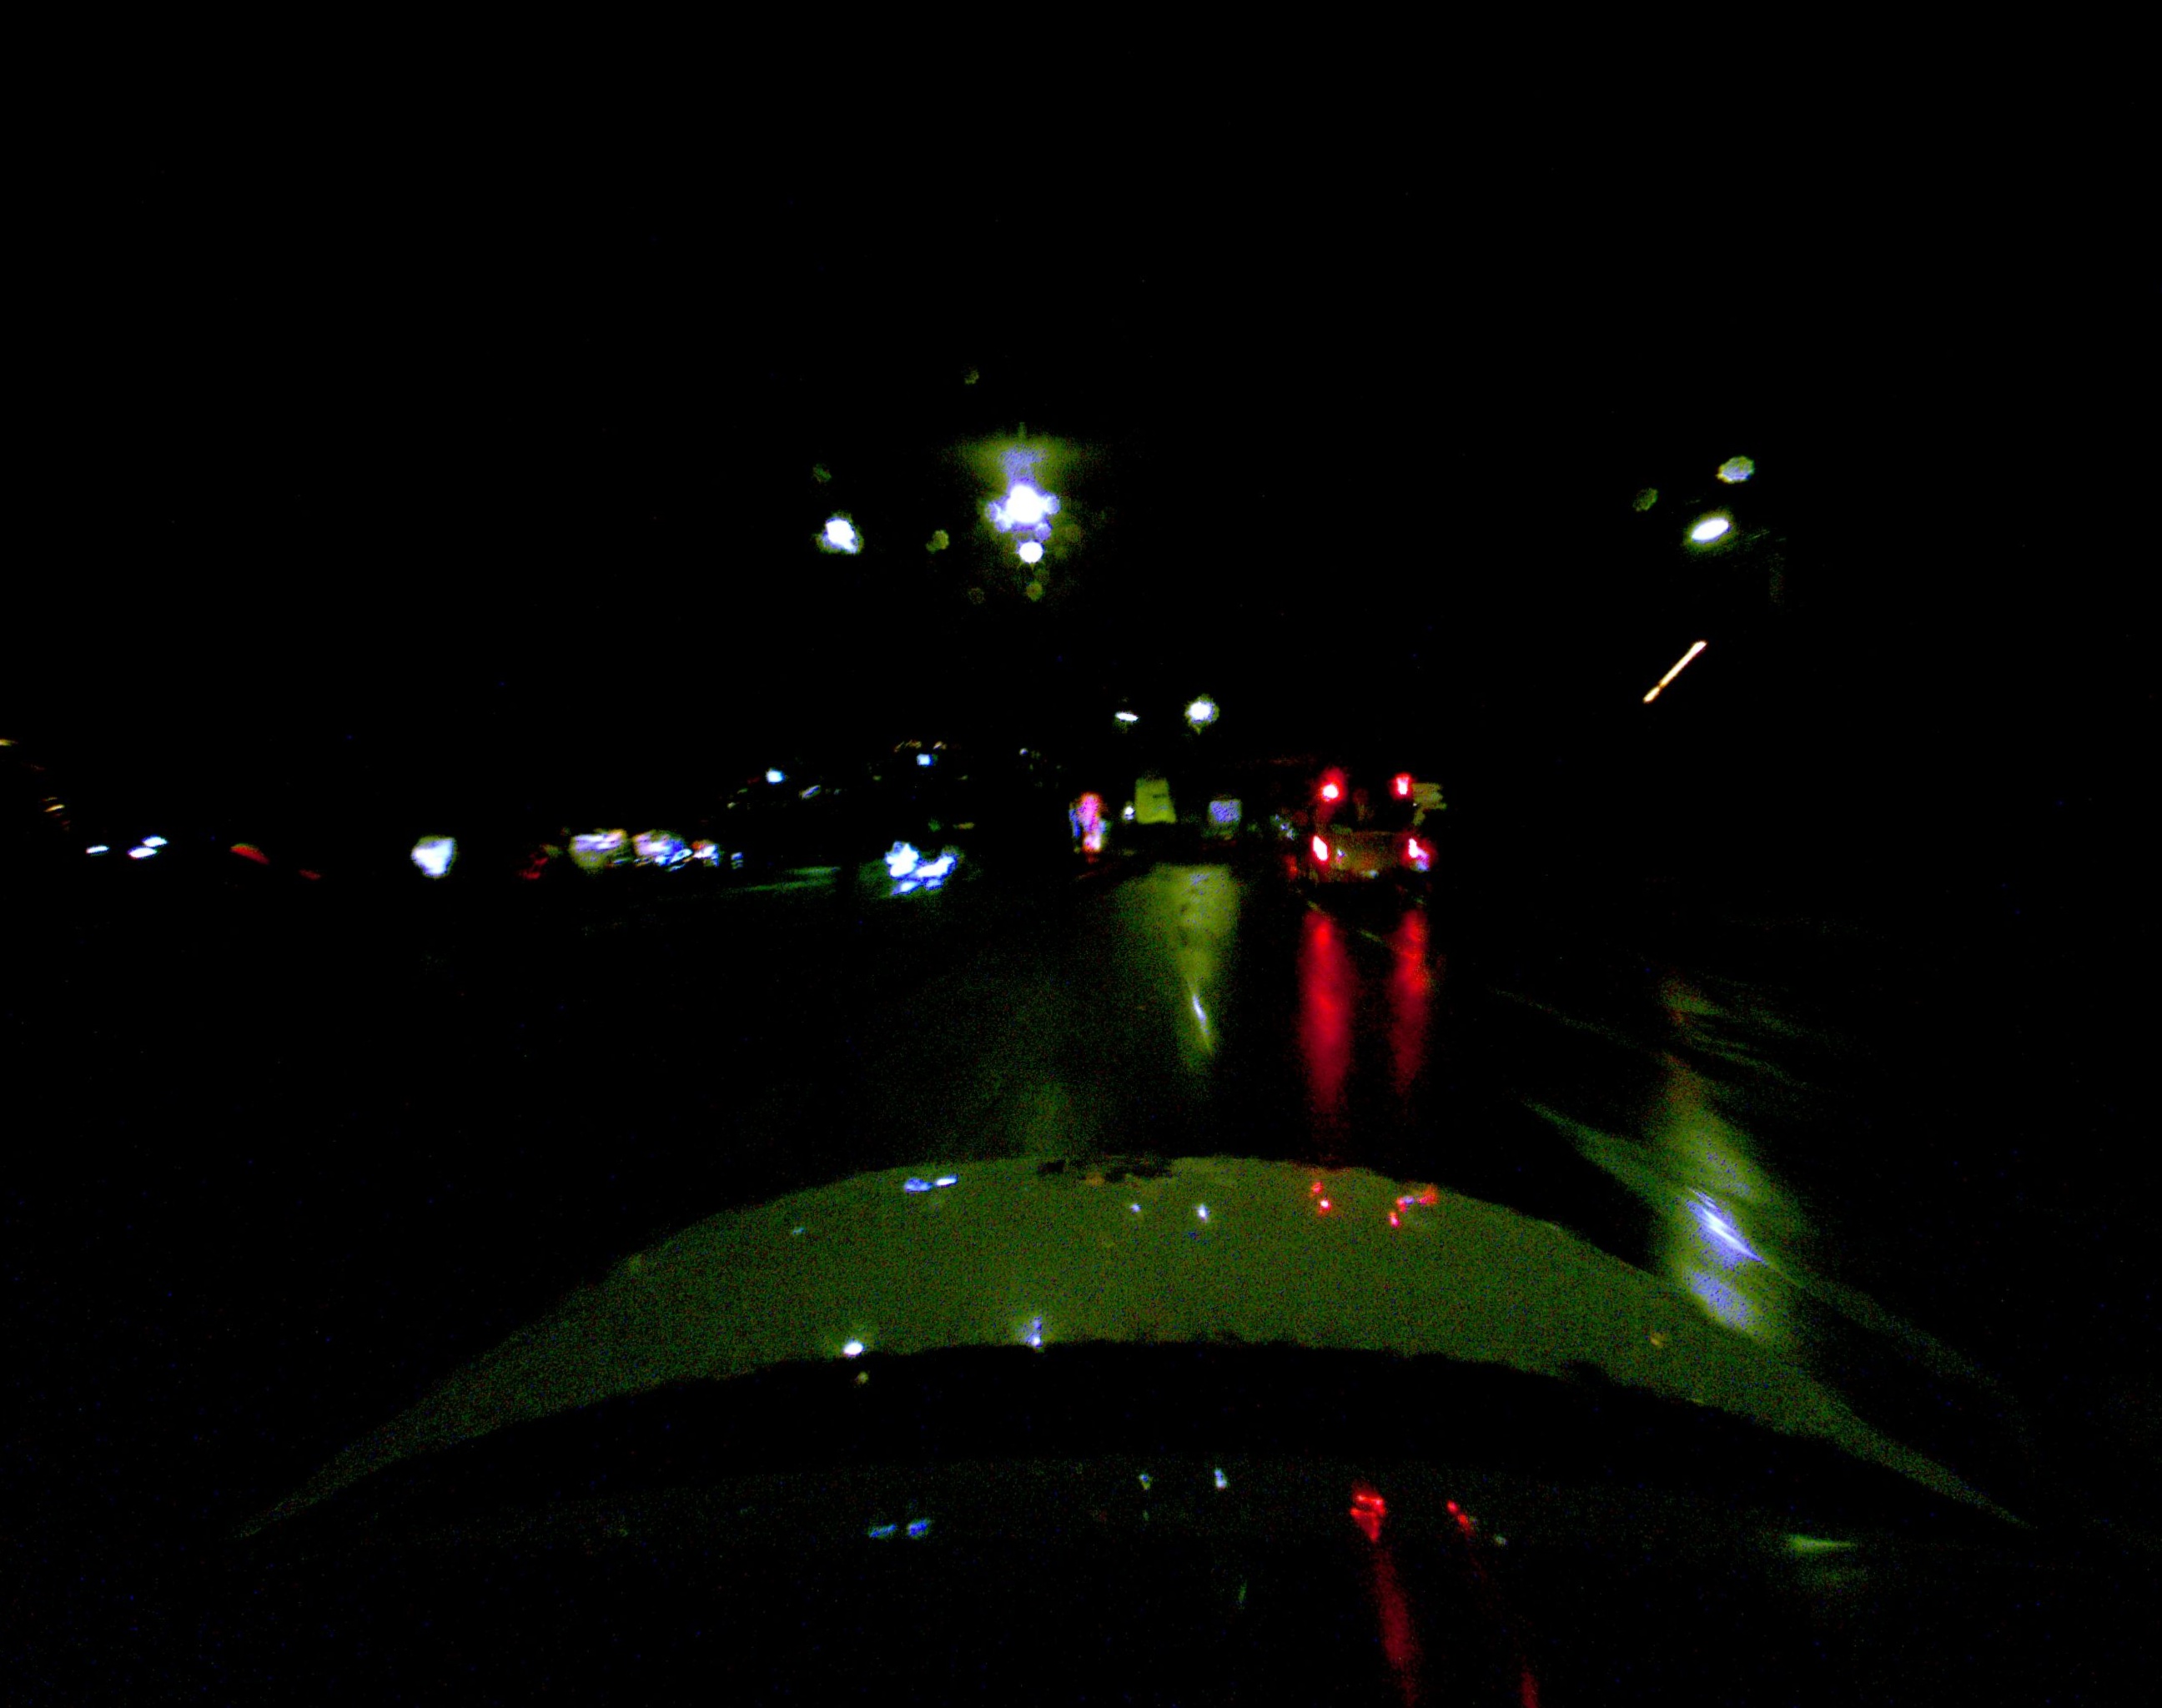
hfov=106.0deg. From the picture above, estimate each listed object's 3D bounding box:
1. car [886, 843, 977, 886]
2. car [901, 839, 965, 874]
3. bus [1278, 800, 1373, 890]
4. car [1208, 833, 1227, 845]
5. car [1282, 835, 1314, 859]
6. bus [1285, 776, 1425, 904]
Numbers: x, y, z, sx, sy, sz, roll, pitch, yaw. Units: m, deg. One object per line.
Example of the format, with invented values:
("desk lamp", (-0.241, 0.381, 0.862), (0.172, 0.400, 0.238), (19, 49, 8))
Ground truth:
("car", (-5.752, 0.351, 31.914), (1.854, 1.463, 4.654), (-4, 0, 11))
("car", (-7.478, 0.097, 41.535), (1.982, 1.594, 4.009), (-2, 1, 8))
("bus", (10.009, -0.339, 34.286), (3.023, 3.212, 9.080), (-2, 0, 12))
("car", (16.526, -1.810, 98.223), (1.554, 1.427, 3.972), (-1, 1, 20))
("car", (16.454, -0.536, 61.687), (1.772, 1.683, 4.022), (-1, 2, 22))
("bus", (8.125, -0.348, 25.397), (3.023, 3.212, 9.080), (-2, 0, 12))
